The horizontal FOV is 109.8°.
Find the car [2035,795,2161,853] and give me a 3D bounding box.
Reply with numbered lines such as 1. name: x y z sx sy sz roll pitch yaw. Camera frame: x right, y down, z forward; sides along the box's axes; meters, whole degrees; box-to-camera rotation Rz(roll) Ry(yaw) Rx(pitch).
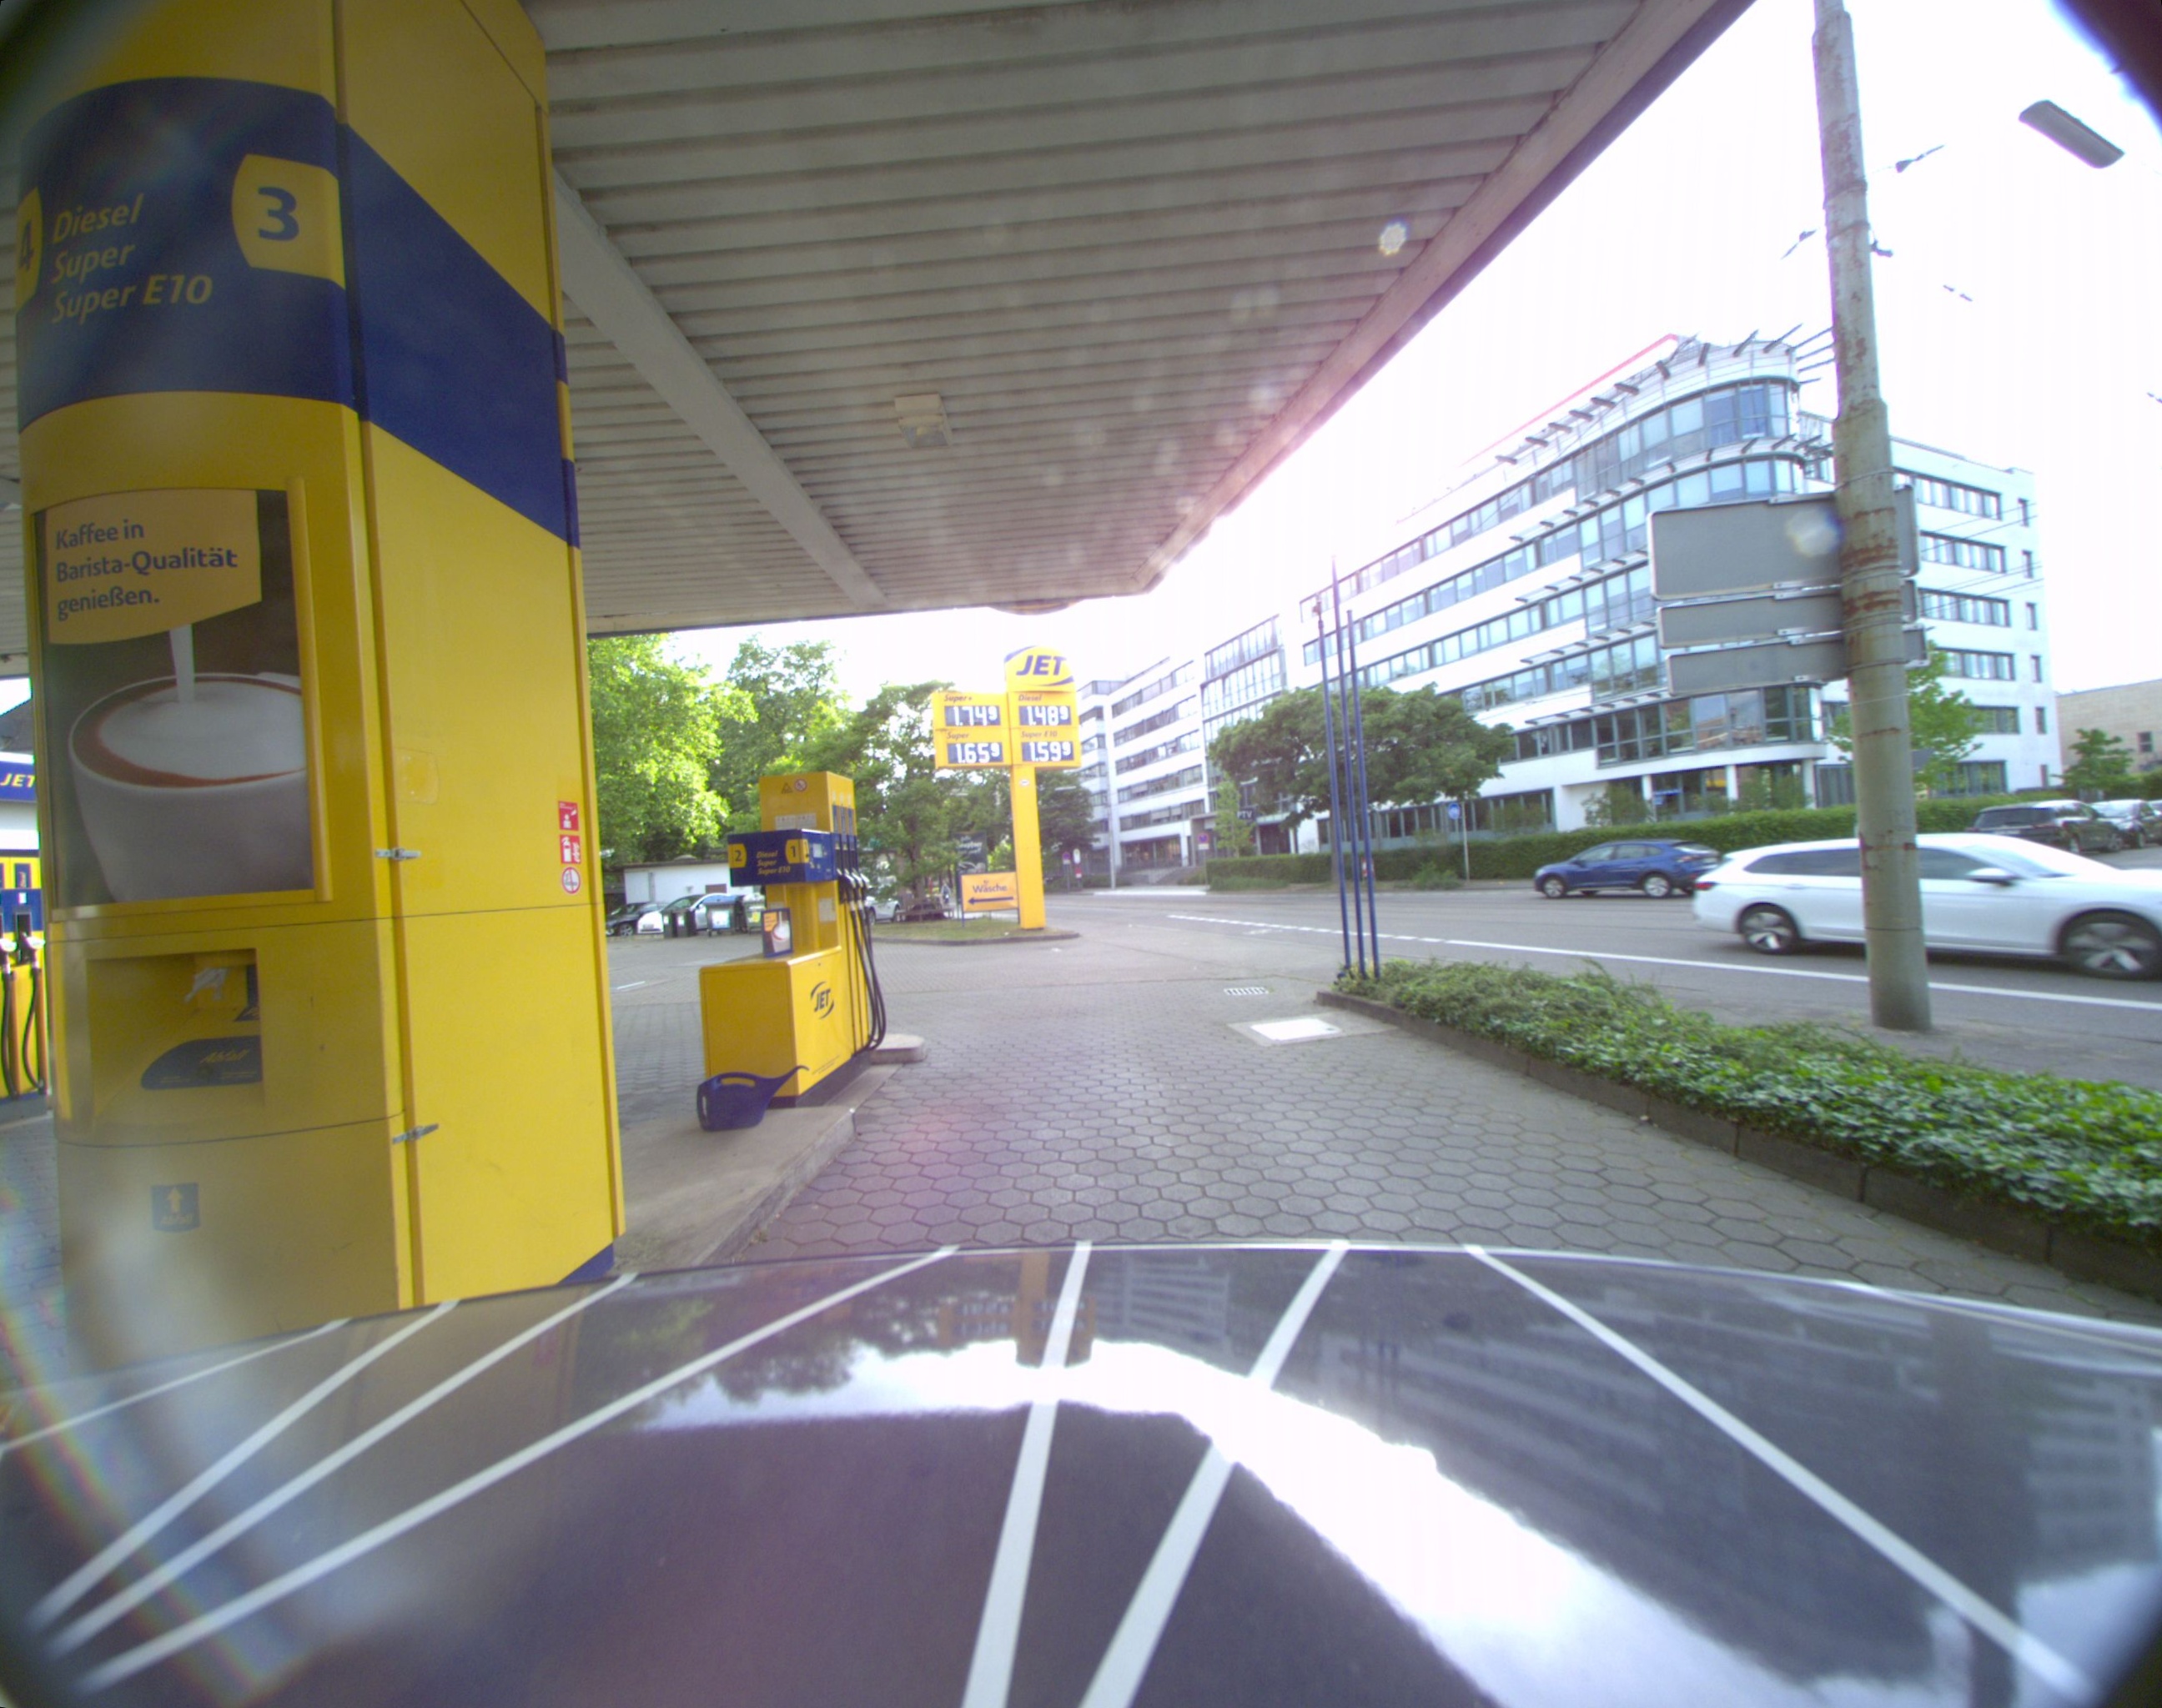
1. car: 32.584 -0.970 24.073 4.201 1.568 1.820 -4 -1 -24

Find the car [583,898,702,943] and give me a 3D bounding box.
1. car: -17.525 2.634 30.612 1.823 1.426 4.200 -4 -2 10

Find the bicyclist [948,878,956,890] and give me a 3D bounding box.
1. bicyclist: -16.787 3.893 98.770 0.792 1.443 1.174 -3 1 -22

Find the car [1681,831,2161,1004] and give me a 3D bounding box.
1. car: 10.347 0.612 8.983 1.865 1.500 4.821 -5 0 -18

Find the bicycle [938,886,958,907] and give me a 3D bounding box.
1. bicycle: -9.044 2.876 51.528 0.854 1.232 1.879 -5 1 -22

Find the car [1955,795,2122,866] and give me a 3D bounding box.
1. car: 27.426 -0.679 21.762 4.397 1.678 1.820 -4 -1 -24

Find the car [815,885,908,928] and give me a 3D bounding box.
1. car: -8.648 2.047 30.381 1.823 1.449 4.200 -4 -2 10

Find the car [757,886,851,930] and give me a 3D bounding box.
1. car: -11.737 2.266 32.469 1.823 1.575 4.200 -4 -2 10

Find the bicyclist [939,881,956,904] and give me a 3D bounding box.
1. bicyclist: -9.027 2.604 51.463 0.854 1.415 1.036 -5 2 -22

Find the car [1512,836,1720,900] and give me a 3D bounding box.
1. car: 14.244 0.427 20.512 1.866 1.461 4.130 -4 -1 -28

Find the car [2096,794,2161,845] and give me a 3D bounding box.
1. car: 37.113 -1.266 26.021 4.201 1.568 1.820 -4 -1 -24

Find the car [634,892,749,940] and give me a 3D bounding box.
1. car: -15.381 2.414 30.257 1.823 1.575 4.200 -4 -2 10

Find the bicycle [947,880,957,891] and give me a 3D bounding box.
1. bicycle: -16.753 4.095 98.709 0.792 1.232 1.879 -3 0 -22
